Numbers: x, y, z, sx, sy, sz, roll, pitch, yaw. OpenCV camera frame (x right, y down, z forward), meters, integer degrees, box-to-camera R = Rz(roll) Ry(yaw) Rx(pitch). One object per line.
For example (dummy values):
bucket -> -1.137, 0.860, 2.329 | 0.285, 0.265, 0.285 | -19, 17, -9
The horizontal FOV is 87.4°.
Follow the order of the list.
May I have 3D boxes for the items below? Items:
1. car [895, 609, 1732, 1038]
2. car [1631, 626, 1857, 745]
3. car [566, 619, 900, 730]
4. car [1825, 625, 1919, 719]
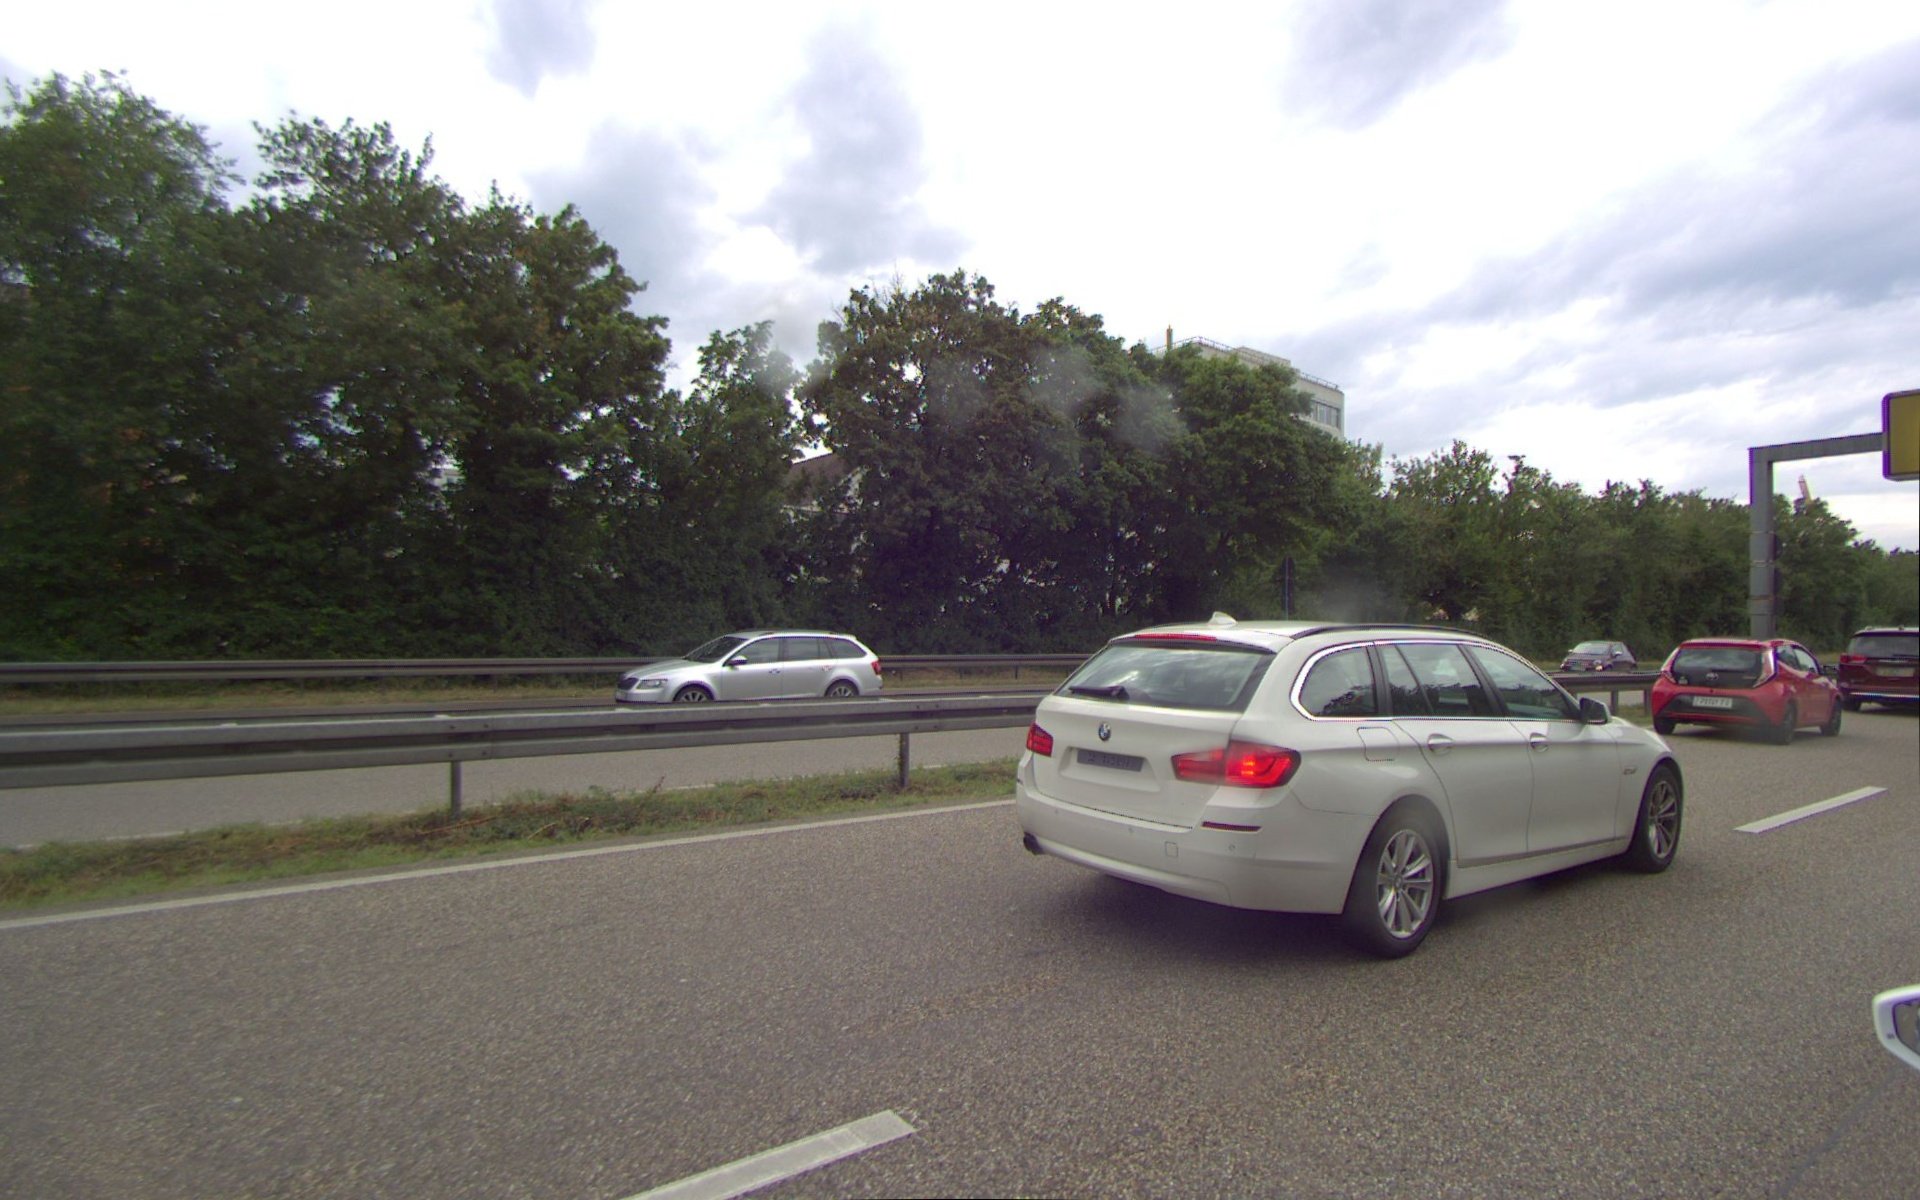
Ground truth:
car -> 2.359, 0.861, 5.868 | 5.208, 1.483, 2.044 | 2, -2, -36
car -> 11.971, 1.231, 15.260 | 4.050, 1.544, 1.616 | 2, -1, -36
car -> -3.666, 1.174, 16.847 | 5.226, 1.613, 1.683 | 2, -2, -36
car -> 19.544, 1.449, 20.622 | 3.963, 1.729, 1.862 | 2, -1, -37
